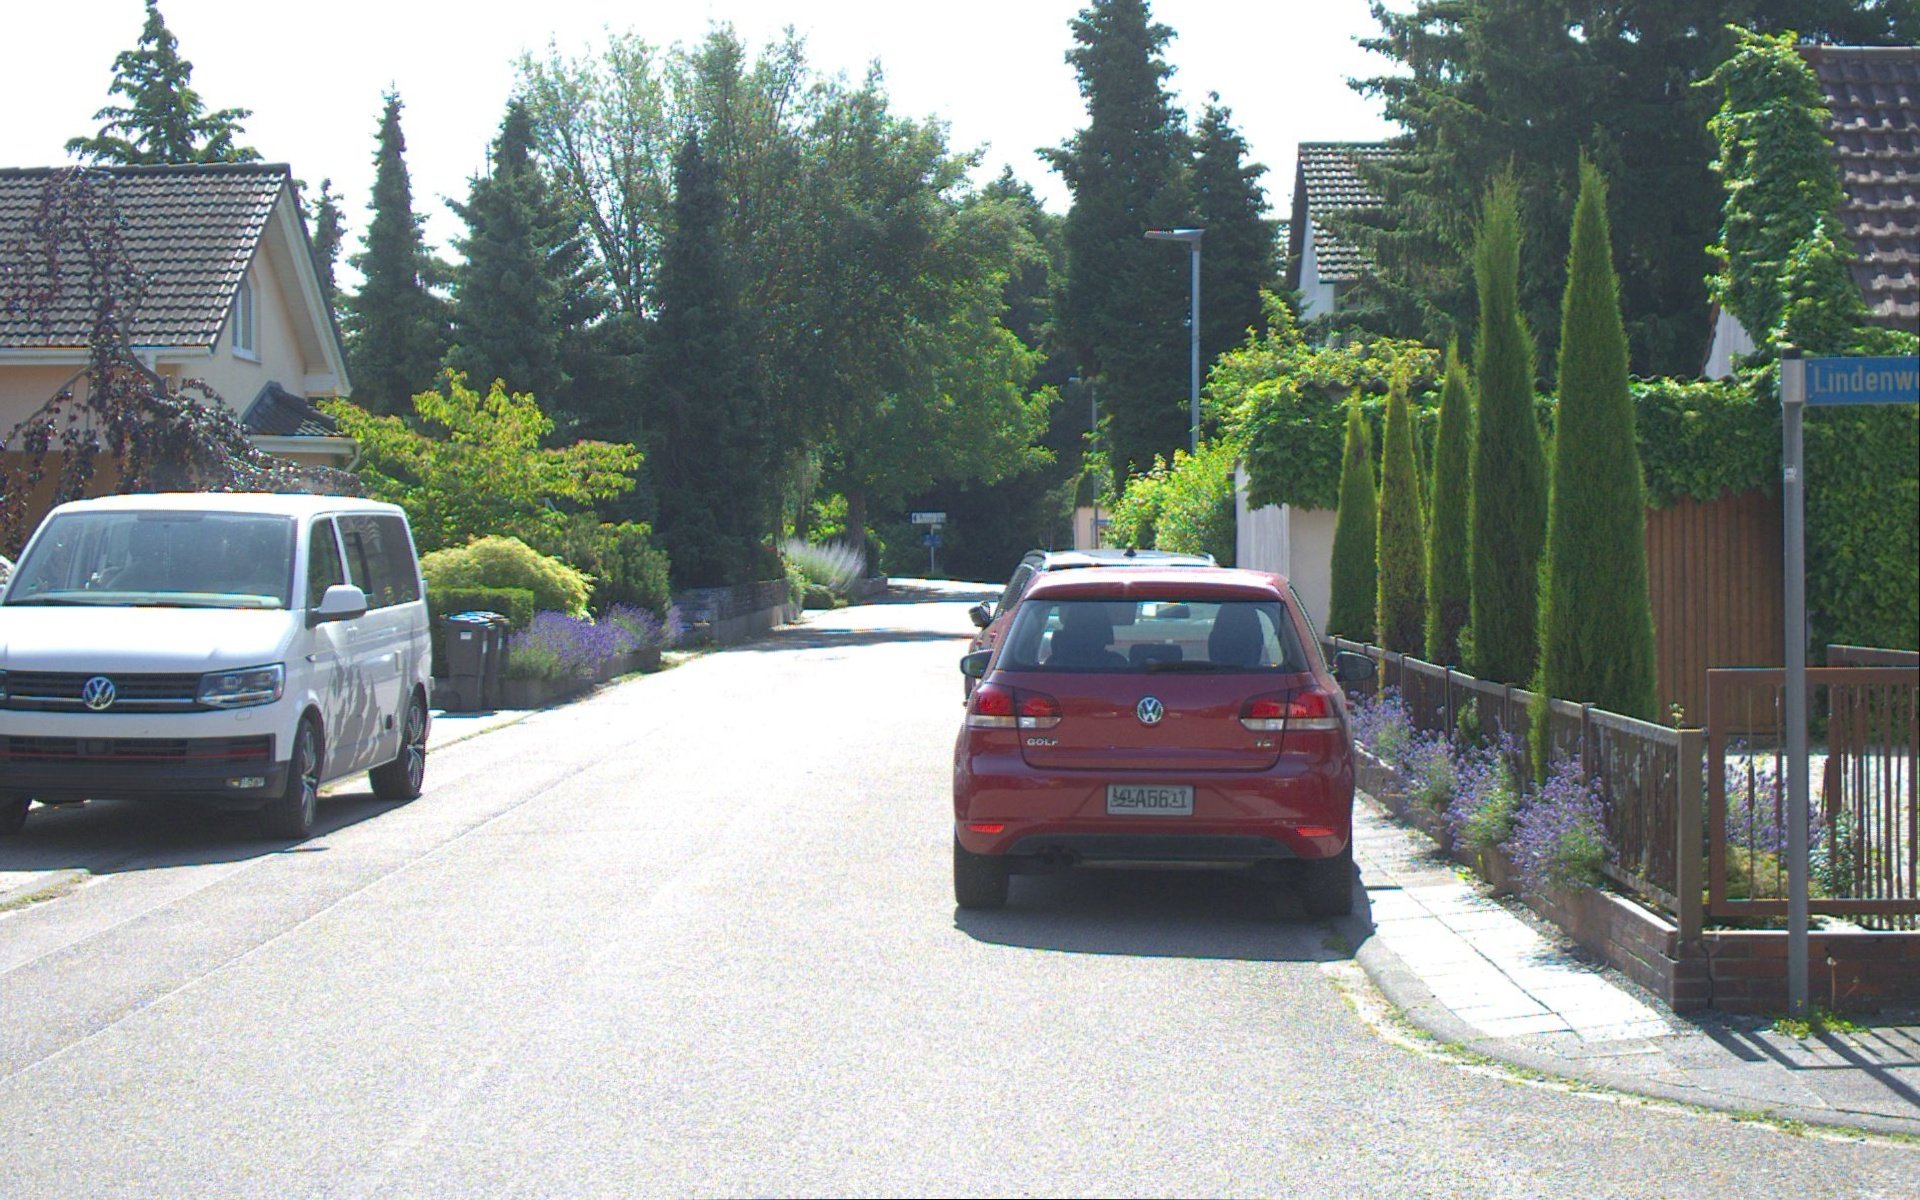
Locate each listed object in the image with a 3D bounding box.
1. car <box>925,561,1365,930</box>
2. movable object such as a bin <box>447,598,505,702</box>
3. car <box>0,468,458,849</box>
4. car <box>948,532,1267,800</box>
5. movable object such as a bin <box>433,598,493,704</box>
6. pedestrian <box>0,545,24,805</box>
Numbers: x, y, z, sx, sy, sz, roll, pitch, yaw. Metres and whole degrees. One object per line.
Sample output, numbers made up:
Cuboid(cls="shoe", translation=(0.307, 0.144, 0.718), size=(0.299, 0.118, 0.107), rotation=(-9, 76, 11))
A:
Cuboid(cls="car", translation=(0.908, 0.575, 16.184), size=(1.776, 1.474, 3.999), rotation=(1, 1, 4))
Cuboid(cls="movable object such as a bin", translation=(-4.810, 0.494, 34.204), size=(0.494, 1.021, 0.447), rotation=(-1, 1, 1))
Cuboid(cls="car", translation=(-4.436, 0.279, 20.599), size=(1.929, 2.007, 4.895), rotation=(0, 1, 3))
Cuboid(cls="car", translation=(0.892, 0.377, 22.915), size=(1.822, 1.610, 4.000), rotation=(1, 1, -2))
Cuboid(cls="movable object such as a bin", translation=(-4.874, 0.494, 33.724), size=(0.494, 1.021, 0.447), rotation=(-1, 1, 1))
Cuboid(cls="pedestrian", translation=(-6.050, 0.440, 20.406), size=(0.718, 1.533, 0.641), rotation=(1, 1, 34))
